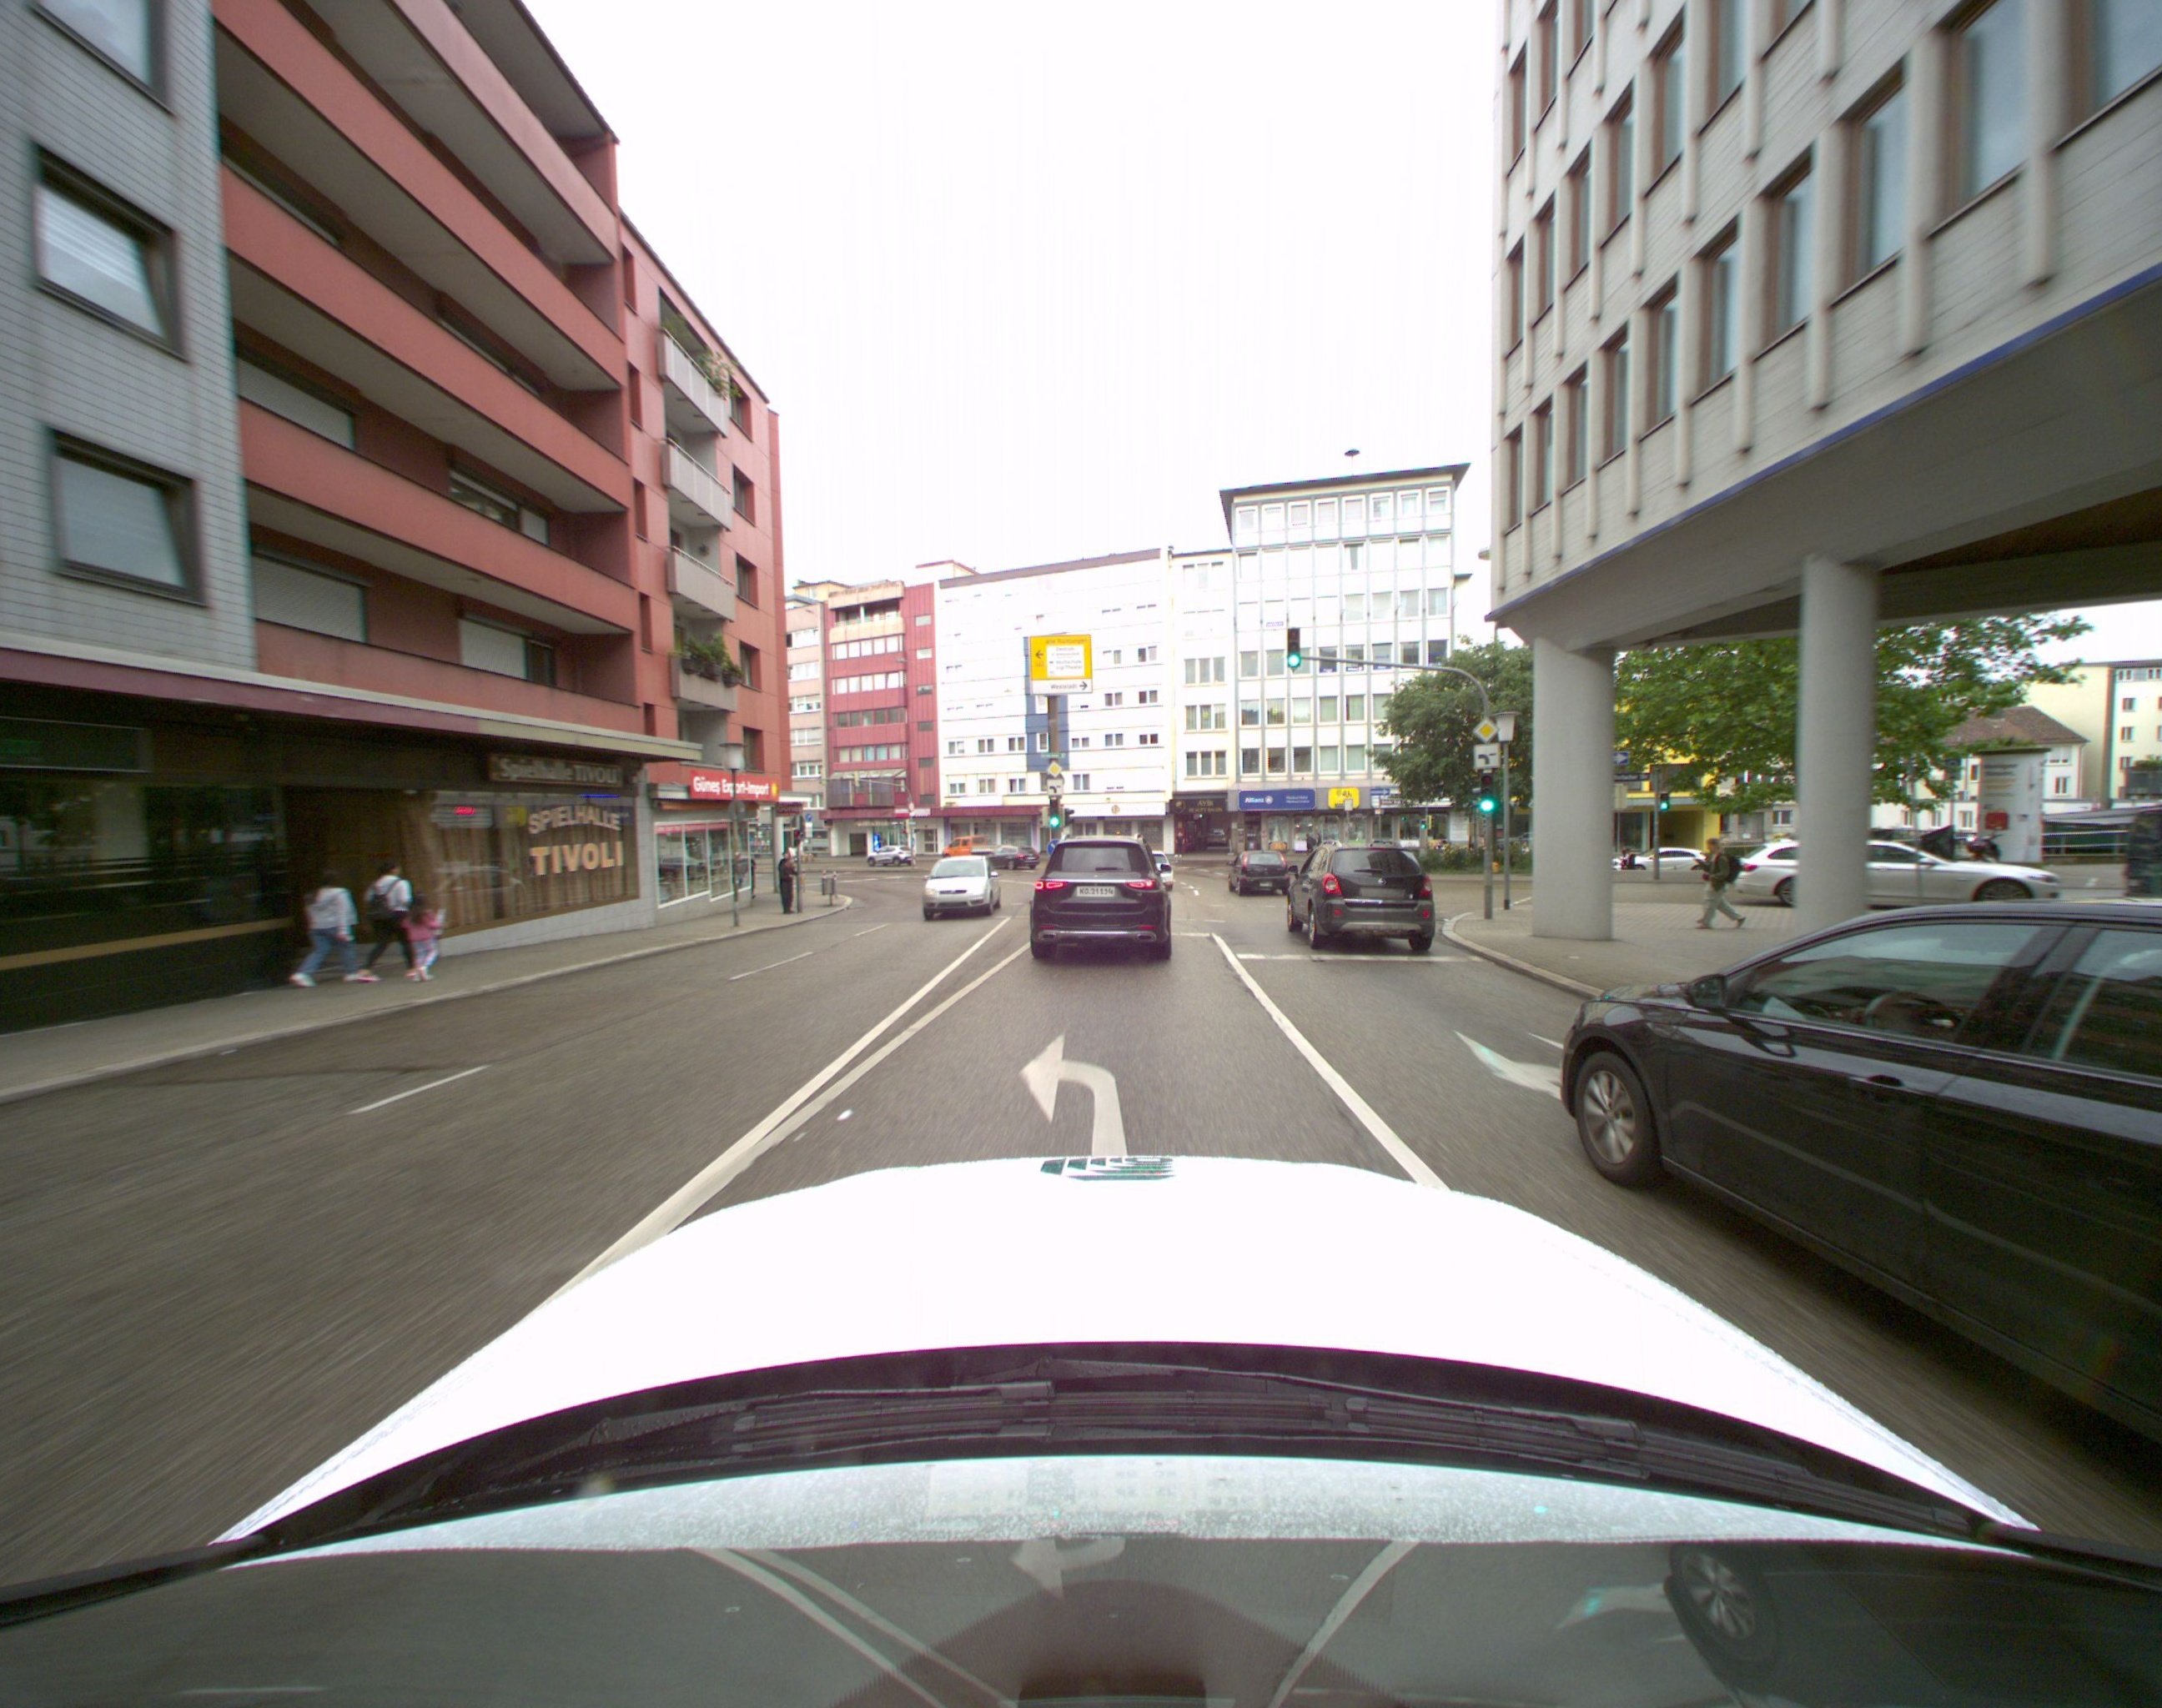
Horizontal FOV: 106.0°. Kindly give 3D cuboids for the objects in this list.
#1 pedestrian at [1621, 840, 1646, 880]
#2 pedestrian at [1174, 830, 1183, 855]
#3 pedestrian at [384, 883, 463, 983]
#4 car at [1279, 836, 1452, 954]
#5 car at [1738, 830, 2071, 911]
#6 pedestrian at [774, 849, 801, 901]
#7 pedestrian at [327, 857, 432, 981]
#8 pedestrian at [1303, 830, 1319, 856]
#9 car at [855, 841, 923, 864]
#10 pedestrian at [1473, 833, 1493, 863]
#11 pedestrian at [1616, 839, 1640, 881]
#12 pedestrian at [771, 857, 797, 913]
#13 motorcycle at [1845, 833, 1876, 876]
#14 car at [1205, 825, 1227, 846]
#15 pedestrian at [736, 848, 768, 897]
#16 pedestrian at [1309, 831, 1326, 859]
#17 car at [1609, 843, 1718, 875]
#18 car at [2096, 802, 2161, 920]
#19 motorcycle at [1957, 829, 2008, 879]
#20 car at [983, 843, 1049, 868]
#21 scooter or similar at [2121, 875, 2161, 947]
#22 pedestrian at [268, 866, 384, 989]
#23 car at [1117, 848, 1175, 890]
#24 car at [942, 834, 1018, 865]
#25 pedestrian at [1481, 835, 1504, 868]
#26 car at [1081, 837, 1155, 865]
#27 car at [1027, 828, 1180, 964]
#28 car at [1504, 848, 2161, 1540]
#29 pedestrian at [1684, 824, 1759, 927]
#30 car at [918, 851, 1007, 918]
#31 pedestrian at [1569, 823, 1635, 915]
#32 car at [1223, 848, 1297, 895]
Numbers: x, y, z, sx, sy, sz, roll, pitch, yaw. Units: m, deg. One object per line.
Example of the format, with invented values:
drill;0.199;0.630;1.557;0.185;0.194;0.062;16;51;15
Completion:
pedestrian;24.226;0.262;35.710;0.707;1.677;0.682;2;-3;15
pedestrian;7.026;-0.813;58.604;0.561;1.688;0.757;-1;6;7
pedestrian;-9.206;1.085;11.424;0.533;1.323;0.722;1;0;-8
car;4.710;0.586;14.185;1.888;1.695;4.513;1;0;6
car;17.188;0.311;17.394;4.790;1.494;1.868;-1;0;42
pedestrian;-10.800;0.762;29.953;0.760;1.848;0.841;-1;0;-10
pedestrian;-9.921;0.893;11.550;0.827;1.689;0.722;1;0;-8
pedestrian;15.728;-0.740;55.703;1.024;1.688;0.833;-1;6;10
car;-13.899;-0.109;58.912;4.603;1.515;1.942;1;-1;29
pedestrian;25.715;-0.368;52.070;0.890;1.827;0.675;3;-2;-16
pedestrian;24.484;0.255;36.467;0.707;1.827;0.682;2;-3;15
pedestrian;-9.139;0.936;25.069;0.553;1.697;0.623;-1;0;-3
motorcycle;23.082;0.000;24.103;0.621;1.116;1.954;0;5;45
car;11.615;-1.564;70.106;1.786;1.670;4.011;-1;0;10
pedestrian;-12.695;0.705;31.432;0.714;1.831;0.835;-1;0;35
pedestrian;15.746;-0.602;54.271;1.024;1.798;0.833;-1;6;10
car;29.674;0.242;41.638;4.156;1.412;1.838;0;5;15
car;20.726;0.061;13.332;4.744;1.997;1.974;-1;0;35
motorcycle;24.123;-0.024;21.775;2.101;1.116;0.622;-7;3;-34
car;-4.105;0.116;50.897;2.011;1.486;4.186;-2;0;-41
scooter or similar;13.524;0.701;10.282;0.304;0.824;1.133;-1;1;43
pedestrian;-9.994;0.955;10.816;0.827;1.561;0.722;1;0;-8
car;2.418;0.506;31.258;1.867;1.494;4.400;0;0;0
car;-7.415;-0.339;59.616;5.358;2.228;2.264;0;0;33
pedestrian;23.264;-0.161;46.036;0.820;1.827;0.891;1;1;0
car;2.254;-0.153;50.215;1.839;1.658;4.440;1;-1;-45
car;0.290;0.549;13.192;2.032;1.799;4.661;0;0;-1
car;3.217;0.752;2.680;1.682;1.477;4.003;2;0;2
pedestrian;10.926;0.357;13.921;0.715;1.689;0.834;-3;-1;22
car;-3.148;0.774;22.426;1.729;1.592;4.175;-3;0;0
pedestrian;10.728;0.311;16.798;0.720;1.818;0.828;-3;-1;-5
car;5.854;0.524;27.058;1.759;1.397;4.003;-2;0;3
